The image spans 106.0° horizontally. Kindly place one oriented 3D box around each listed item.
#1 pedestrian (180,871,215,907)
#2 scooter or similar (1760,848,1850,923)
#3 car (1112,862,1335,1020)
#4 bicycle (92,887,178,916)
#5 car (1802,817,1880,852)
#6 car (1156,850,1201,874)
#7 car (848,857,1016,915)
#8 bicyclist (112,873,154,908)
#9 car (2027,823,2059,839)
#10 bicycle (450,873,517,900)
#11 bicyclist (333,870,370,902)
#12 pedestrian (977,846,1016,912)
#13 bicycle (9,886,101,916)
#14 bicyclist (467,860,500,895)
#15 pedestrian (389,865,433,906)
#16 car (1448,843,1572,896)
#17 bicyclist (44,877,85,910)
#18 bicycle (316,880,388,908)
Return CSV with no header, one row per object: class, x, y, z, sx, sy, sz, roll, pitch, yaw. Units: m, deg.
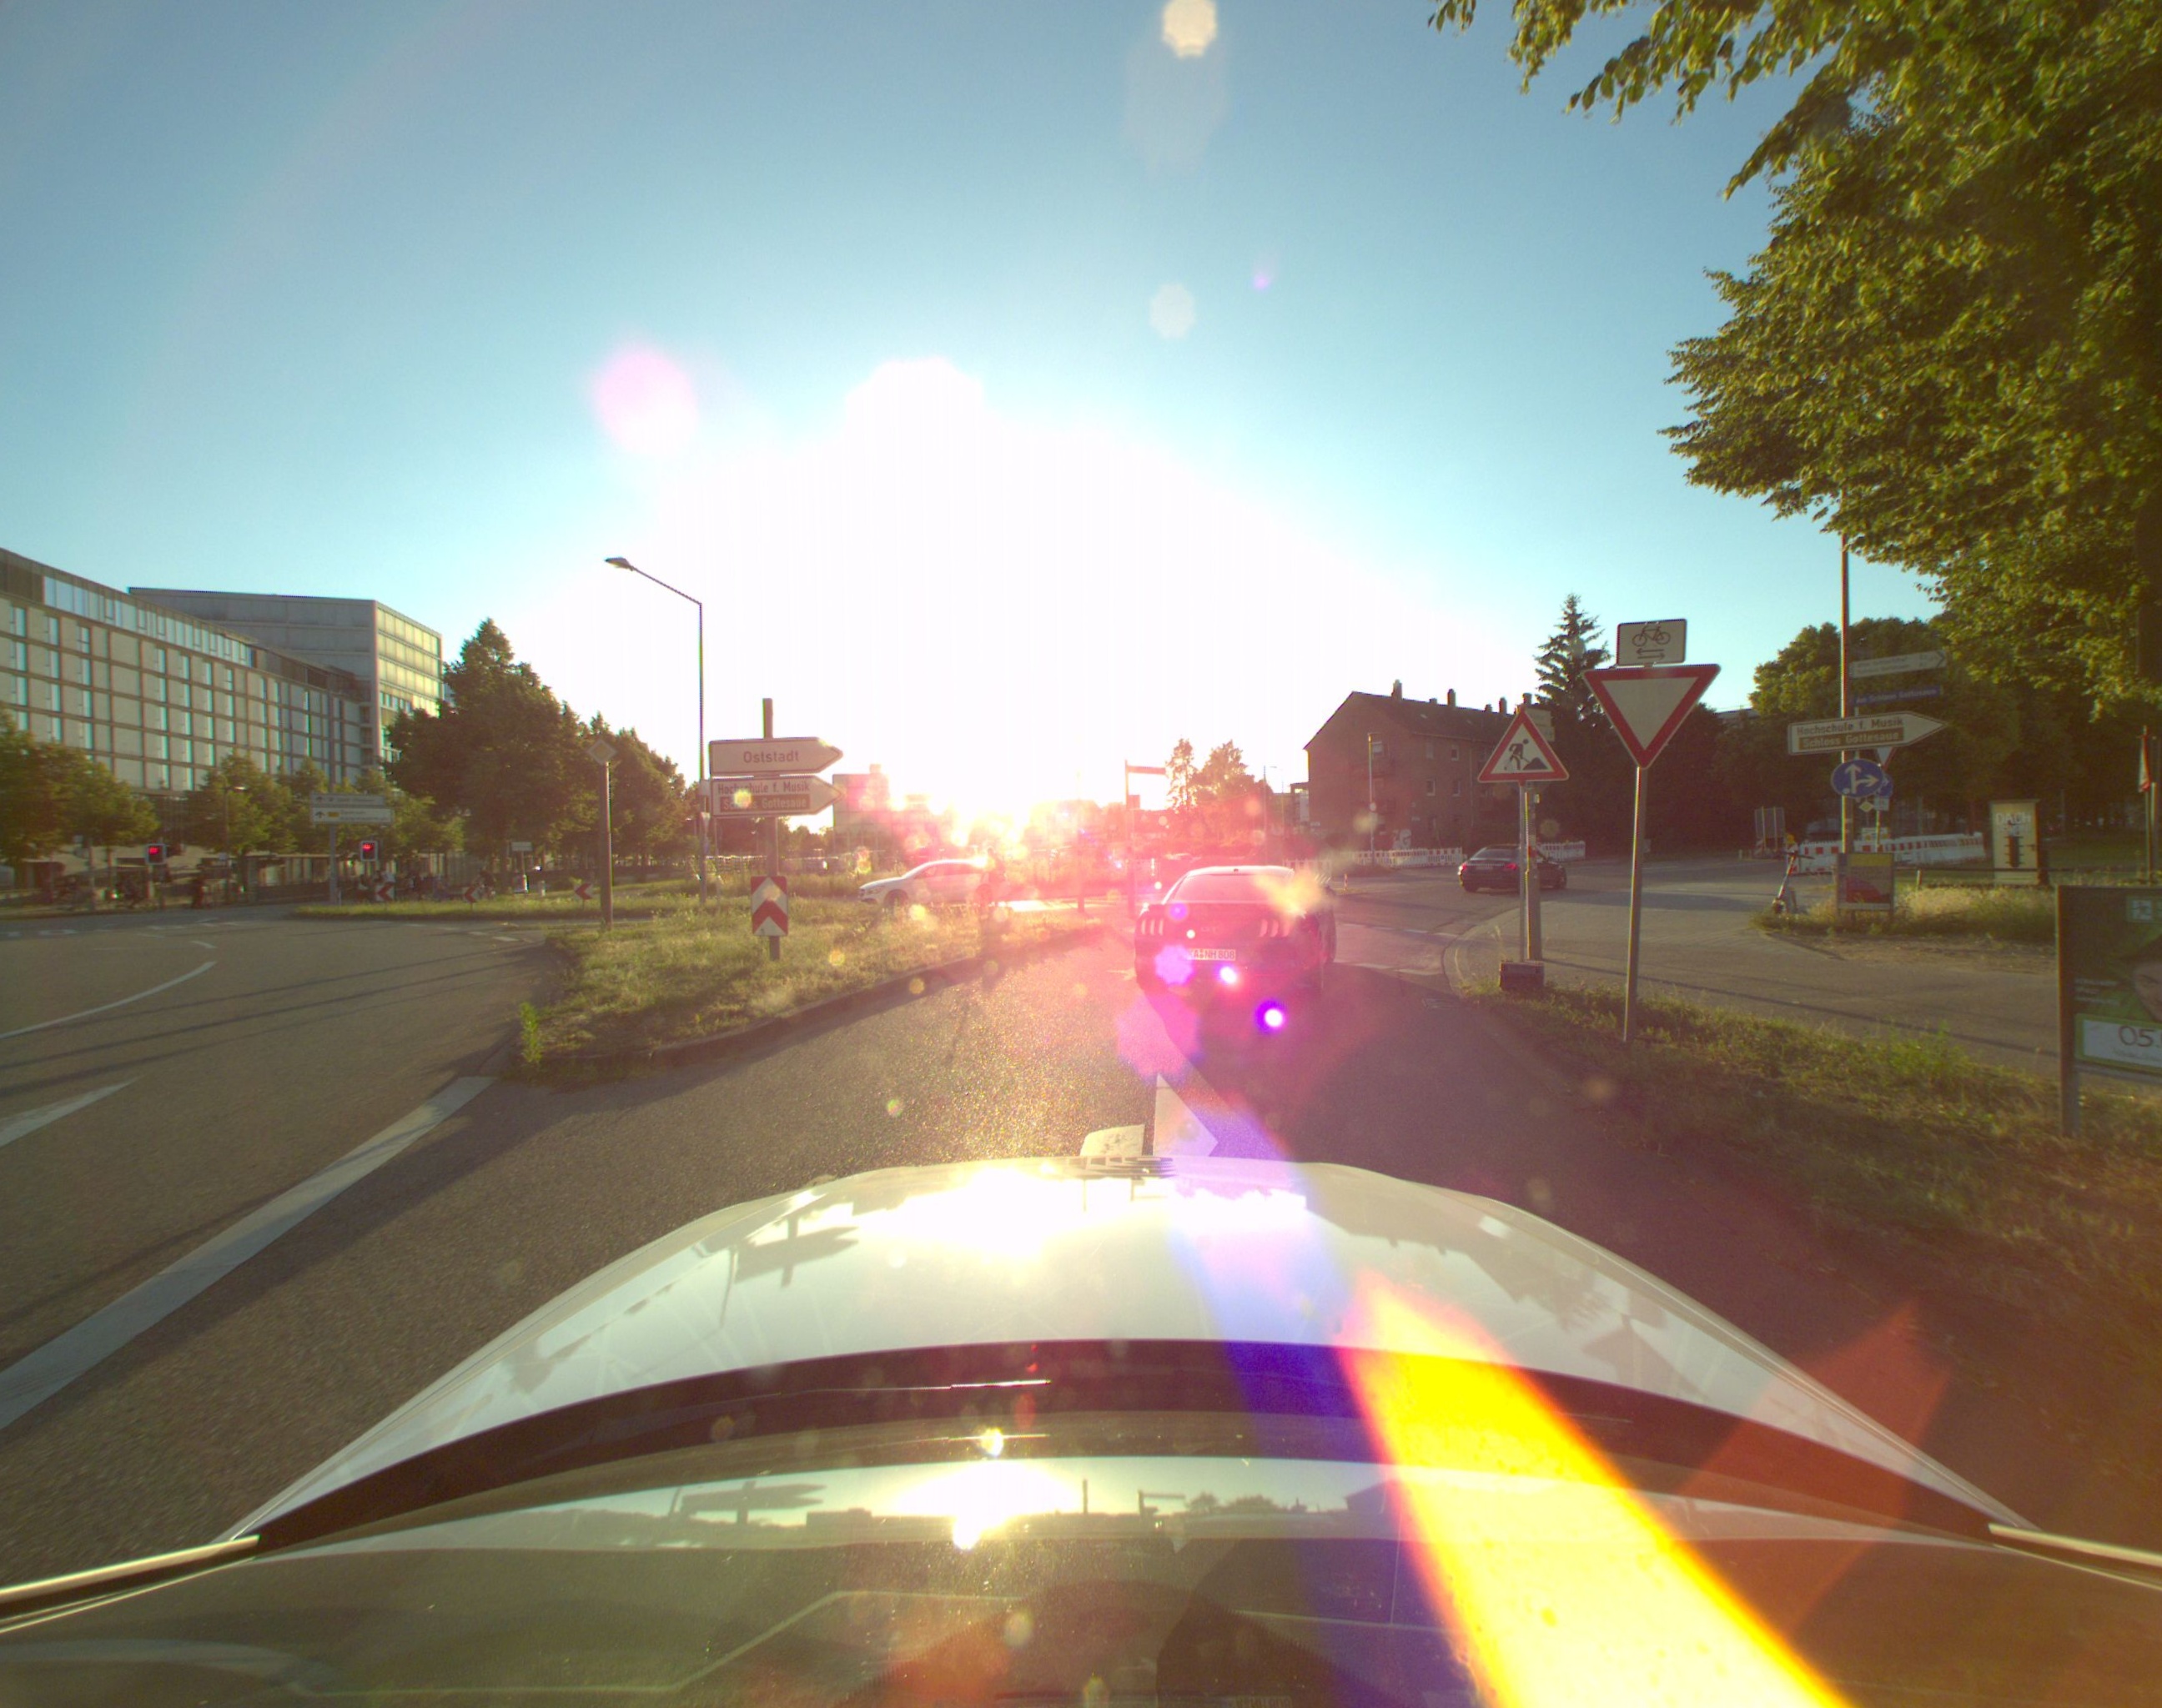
pedestrian,-43.400,1.693,40.010,0.889,1.707,0.789,-1,0,-21
scooter or similar,12.476,0.536,14.049,1.115,1.238,0.443,-1,0,4
car,1.992,0.818,9.873,1.935,1.342,4.693,-1,0,19
bicycle,-42.811,2.137,36.894,2.415,1.167,0.748,-2,0,-27
car,39.710,-1.040,42.542,4.091,1.601,1.939,-4,4,-31
car,7.509,0.599,63.056,1.998,1.706,3.977,-1,0,-17
car,-4.582,0.908,25.074,4.666,1.453,2.057,-3,1,-26
bicyclist,-42.900,1.641,36.868,0.981,1.525,0.748,-1,0,-27
car,102.171,-2.440,86.486,4.095,1.602,1.936,-1,1,-36
bicycle,-28.143,1.519,38.385,2.401,1.167,0.752,-1,0,-9
bicyclist,-33.227,1.441,37.122,0.974,1.394,0.753,-1,0,-7
pedestrian,-2.203,0.637,21.323,0.840,1.686,0.887,-1,0,1
bicycle,-45.126,2.062,35.867,2.413,1.167,0.748,-2,0,-24
bicyclist,-28.142,1.103,38.364,0.974,1.612,0.752,-1,0,-9
pedestrian,-30.658,1.423,37.257,1.152,1.827,0.981,-1,0,7
car,13.315,0.429,25.189,4.453,1.427,1.934,-2,1,-41
bicyclist,-44.936,1.737,36.014,0.881,1.392,0.748,-1,0,-24
bicycle,-33.230,1.811,37.141,2.399,1.167,0.753,-1,0,-7
